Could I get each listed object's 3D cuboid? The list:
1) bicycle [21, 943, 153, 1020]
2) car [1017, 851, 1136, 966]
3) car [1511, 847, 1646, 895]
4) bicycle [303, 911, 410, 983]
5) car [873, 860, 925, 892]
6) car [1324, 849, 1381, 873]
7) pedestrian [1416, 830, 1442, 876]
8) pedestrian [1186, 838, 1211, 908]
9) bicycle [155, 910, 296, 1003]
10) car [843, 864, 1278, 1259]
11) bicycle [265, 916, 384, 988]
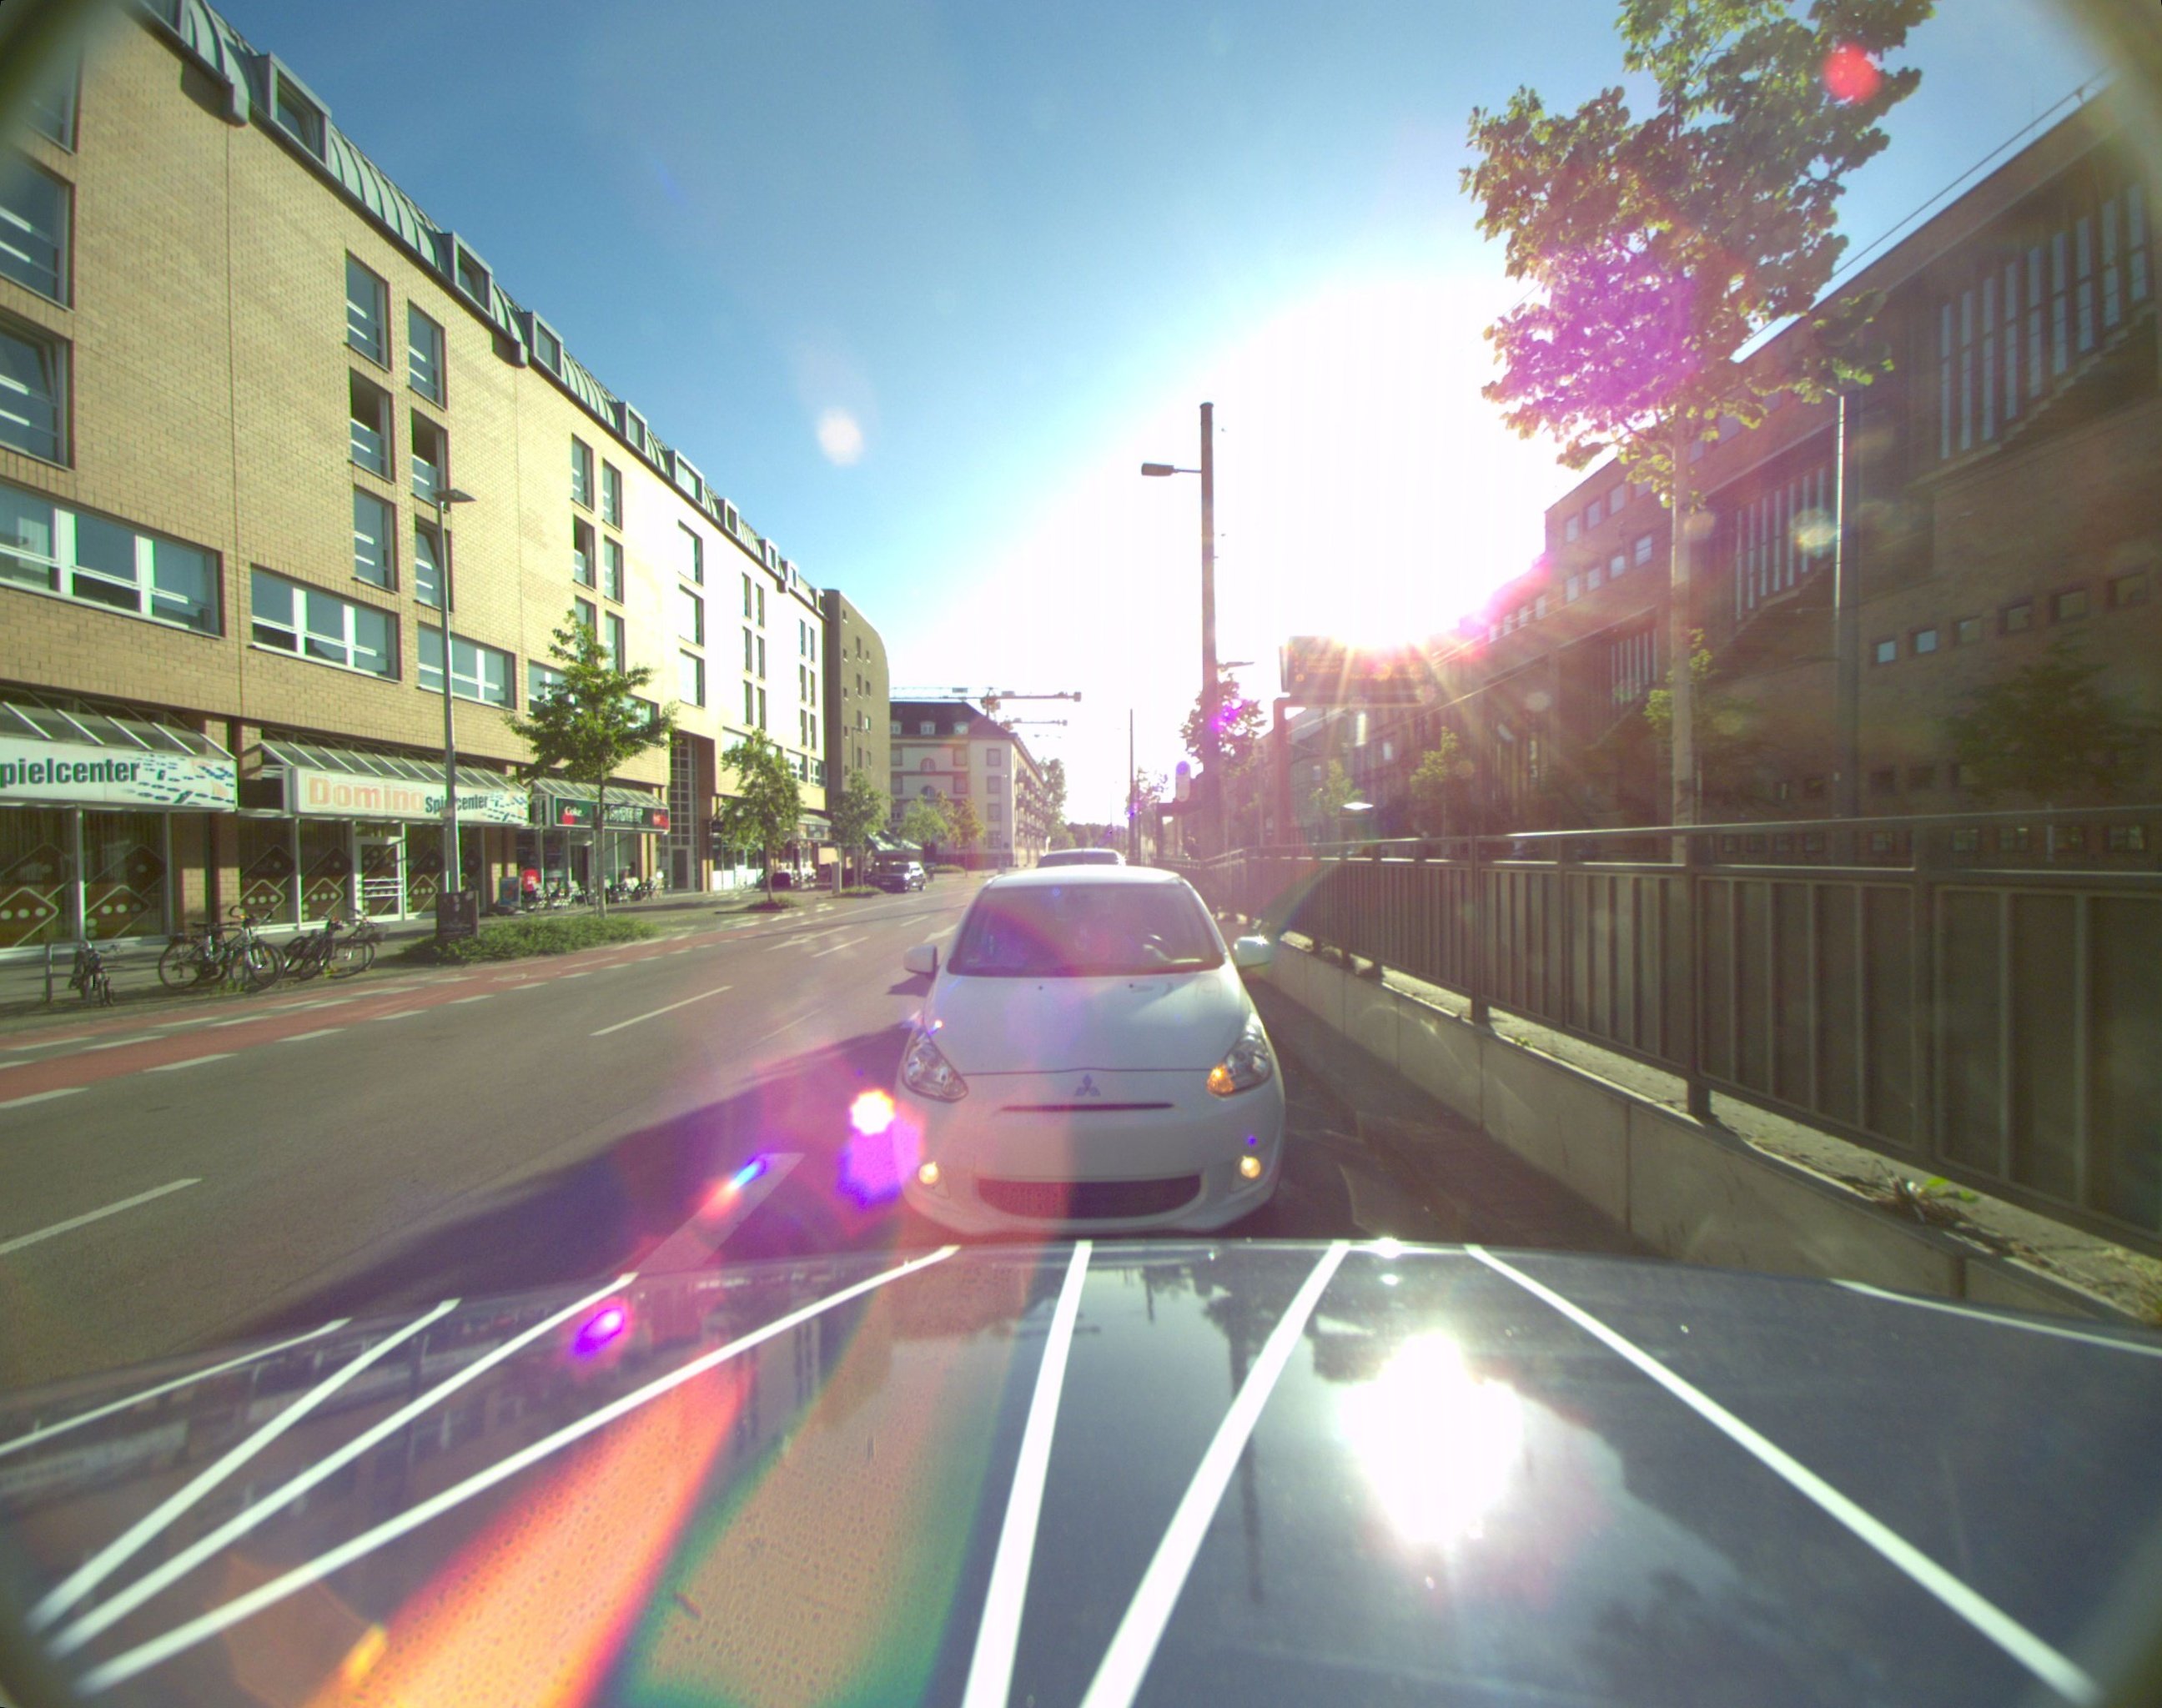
[{"bbox_3d":[-12.820,1.625,9.799,1.772,0.827,0.366,1,2,15],"label":"bicycle"},{"bbox_3d":[-0.075,0.814,13.554,1.720,1.591,4.215,-2,1,0],"label":"car"},{"bbox_3d":[16.823,0.516,25.987,1.830,1.422,4.240,-2,1,0],"label":"car"},{"bbox_3d":[-11.895,1.512,12.471,1.835,1.050,0.350,1,2,15],"label":"bicycle"},{"bbox_3d":[-9.895,1.151,41.605,1.779,1.630,4.000,-1,0,1],"label":"car"},{"bbox_3d":[17.462,0.426,49.029,1.830,1.422,4.528,-1,0,-3],"label":"car"},{"bbox_3d":[13.885,-0.041,30.342,0.685,1.797,0.668,-2,2,0],"label":"pedestrian"},{"bbox_3d":[4.171,0.674,26.998,0.684,2.428,0.626,-2,2,-2],"label":"pedestrian"},{"bbox_3d":[-12.290,1.441,10.919,1.835,1.156,0.565,1,2,15],"label":"bicycle"},{"bbox_3d":[-0.083,0.879,5.214,1.720,1.422,4.215,-2,1,0],"label":"car"},{"bbox_3d":[-11.987,1.538,12.038,1.835,0.980,0.449,1,2,15],"label":"bicycle"}]
